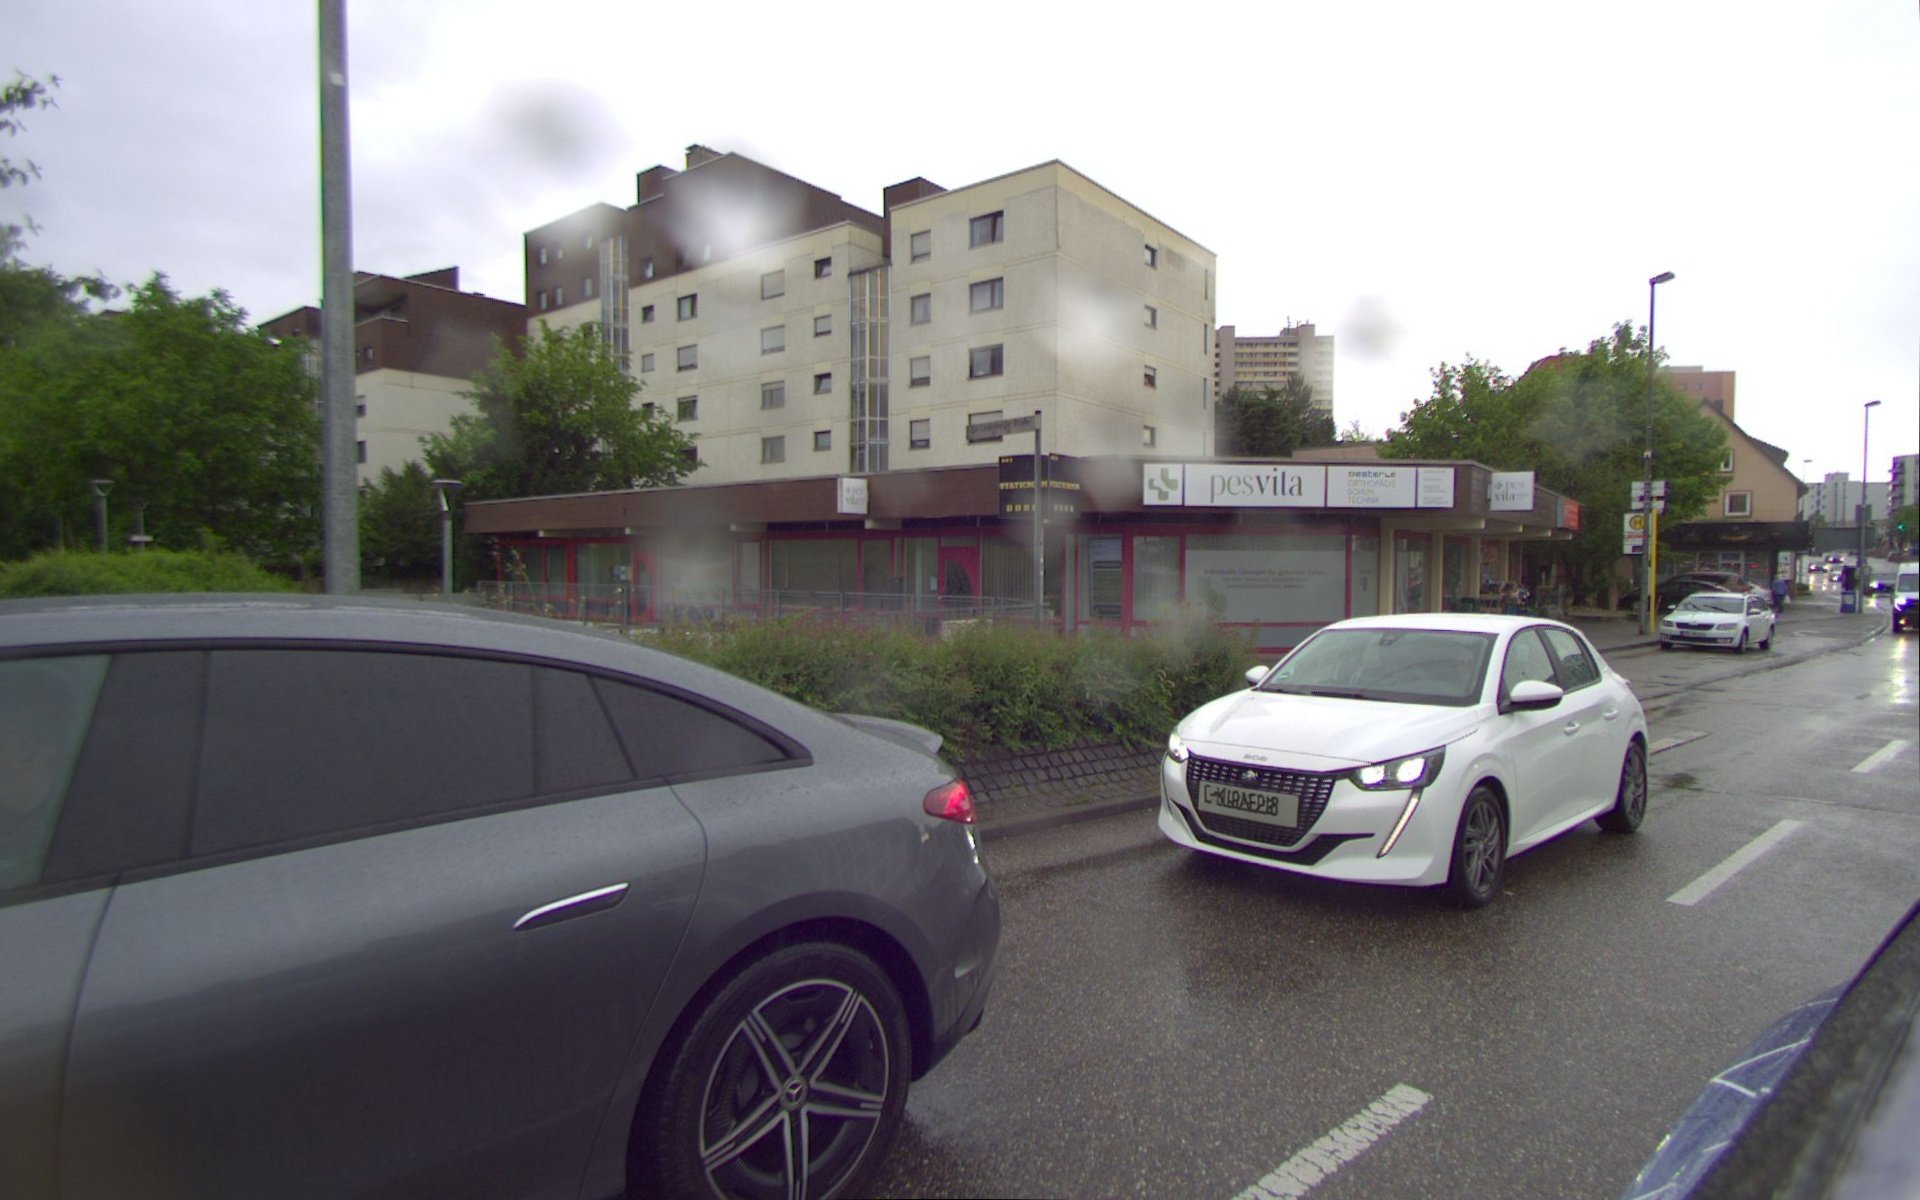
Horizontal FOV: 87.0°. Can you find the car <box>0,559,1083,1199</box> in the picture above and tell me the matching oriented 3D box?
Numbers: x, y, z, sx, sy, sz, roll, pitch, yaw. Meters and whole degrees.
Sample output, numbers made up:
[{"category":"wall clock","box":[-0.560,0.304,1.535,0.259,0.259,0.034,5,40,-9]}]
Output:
[{"category":"car","box":[-2.010,0.687,2.070,4.724,1.485,1.840,1,-1,-41]}]

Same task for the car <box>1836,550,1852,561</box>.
[{"category":"car","box":[139.689,-7.034,159.944,1.657,1.654,3.754,1,1,37]}]

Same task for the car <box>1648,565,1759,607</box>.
[{"category":"car","box":[33.936,-0.655,46.243,3.981,1.801,1.858,2,1,39]}]

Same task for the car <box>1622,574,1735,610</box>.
[{"category":"car","box":[31.761,-0.379,44.787,3.981,1.445,1.858,2,2,39]}]

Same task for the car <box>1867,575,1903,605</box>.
[{"category":"car","box":[63.209,-0.688,69.140,1.716,2.025,3.775,1,1,44]}]

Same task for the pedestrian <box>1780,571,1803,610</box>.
[{"category":"pedestrian","box":[38.756,-0.451,47.194,0.740,1.804,0.749,0,0,-44]}]

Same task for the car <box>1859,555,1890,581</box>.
[{"category":"car","box":[75.200,-2.607,83.245,1.714,2.025,3.780,1,1,41]}]

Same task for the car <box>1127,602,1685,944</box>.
[{"category":"car","box":[2.998,0.758,6.367,4.043,1.433,1.665,0,1,-41]}]

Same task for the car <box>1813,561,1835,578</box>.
[{"category":"car","box":[107.373,-3.734,125.719,1.992,2.039,3.939,0,1,42]}]

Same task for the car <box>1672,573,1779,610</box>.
[{"category":"car","box":[36.401,-0.416,48.201,3.981,1.614,1.857,2,0,39]}]

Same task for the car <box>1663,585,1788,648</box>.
[{"category":"car","box":[19.809,0.375,26.155,3.930,1.509,1.787,0,1,-41]}]

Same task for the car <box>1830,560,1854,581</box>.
[{"category":"car","box":[87.160,-2.910,99.981,1.714,2.025,3.780,1,1,40]}]

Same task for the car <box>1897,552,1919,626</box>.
[{"category":"car","box":[35.541,-0.411,36.479,6.021,2.549,2.194,-1,2,-43]}]
